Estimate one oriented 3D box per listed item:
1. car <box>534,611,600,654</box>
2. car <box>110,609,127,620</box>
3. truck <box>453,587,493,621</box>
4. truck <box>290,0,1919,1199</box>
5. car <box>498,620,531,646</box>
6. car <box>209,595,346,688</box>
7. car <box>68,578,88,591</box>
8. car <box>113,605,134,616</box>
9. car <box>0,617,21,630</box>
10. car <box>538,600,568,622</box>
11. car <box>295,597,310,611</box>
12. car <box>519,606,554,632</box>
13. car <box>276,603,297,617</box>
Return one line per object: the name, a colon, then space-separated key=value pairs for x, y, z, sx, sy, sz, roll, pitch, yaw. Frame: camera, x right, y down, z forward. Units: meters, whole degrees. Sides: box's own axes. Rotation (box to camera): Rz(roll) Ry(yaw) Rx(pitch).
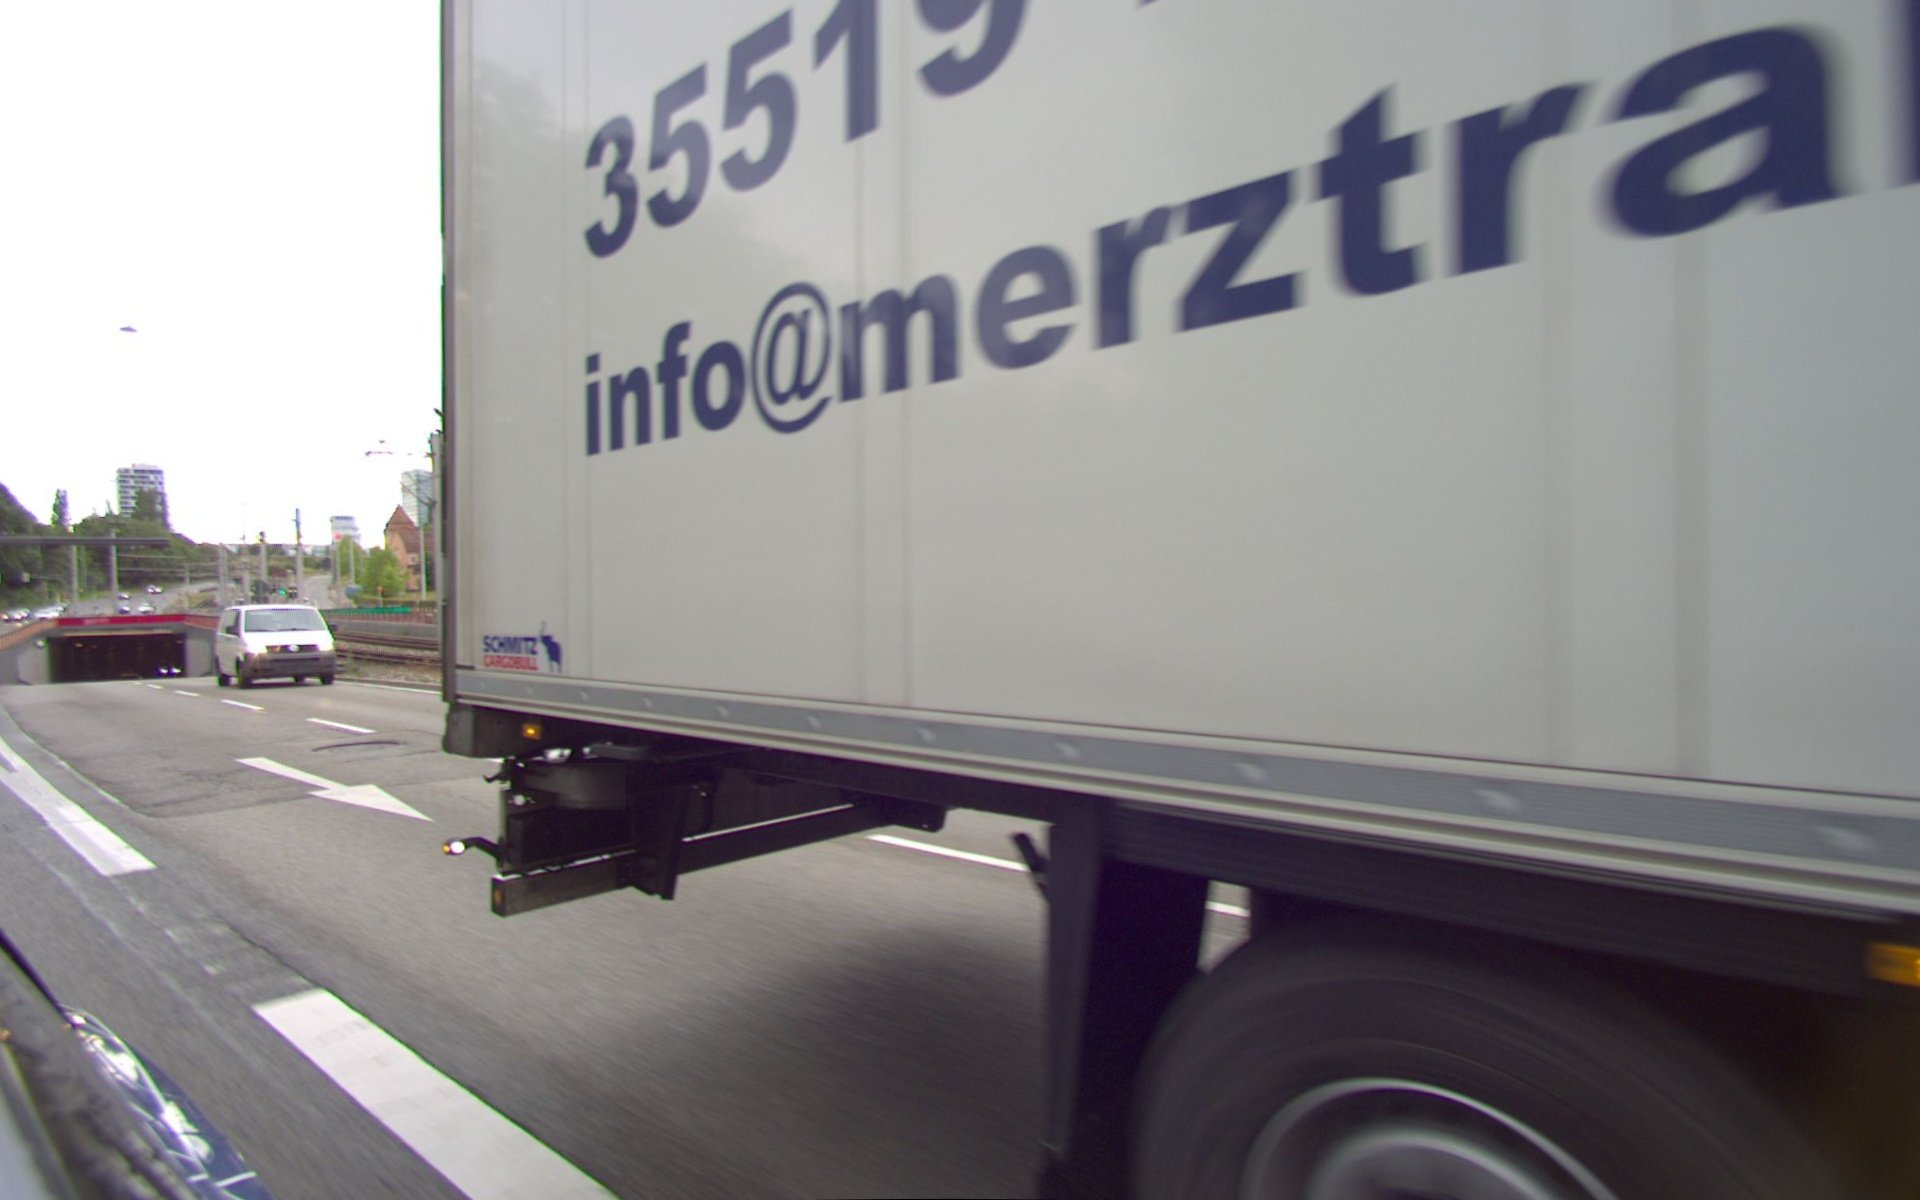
car: x=-21.615 y=1.739 z=55.537 sx=1.968 sy=2.134 sz=5.121 roll=-2 pitch=1 yaw=-37
car: x=-126.711 y=2.196 z=152.402 sx=1.774 sy=1.482 sz=4.008 roll=-1 pitch=1 yaw=-38
truck: x=-49.951 y=0.384 z=103.750 sx=5.288 sy=3.209 sz=1.971 roll=3 pitch=3 yaw=44
truck: x=3.566 y=-0.829 z=0.209 sx=13.022 sy=4.229 sz=2.734 roll=-2 pitch=-2 yaw=41
car: x=-40.188 y=2.956 z=91.238 sx=1.967 sy=2.028 sz=4.215 roll=-1 pitch=3 yaw=-35
car: x=-16.674 y=0.995 z=24.615 sx=1.970 sy=2.042 sz=4.689 roll=0 pitch=-2 yaw=-44
car: x=-109.649 y=-1.928 z=125.860 sx=1.774 sy=1.523 sz=4.007 roll=-1 pitch=-1 yaw=-39
car: x=-125.766 y=1.555 z=152.181 sx=1.710 sy=1.599 sz=4.013 roll=-1 pitch=2 yaw=-30
car: x=-121.219 y=3.024 z=128.958 sx=1.860 sy=1.482 sz=4.017 roll=-1 pitch=-1 yaw=-37
car: x=-41.457 y=1.115 z=103.110 sx=1.967 sy=2.028 sz=4.215 roll=-1 pitch=3 yaw=-35
car: x=-108.814 y=0.611 z=167.582 sx=1.966 sy=2.028 sz=4.012 roll=-1 pitch=3 yaw=-32
car: x=-36.859 y=1.617 z=88.069 sx=1.967 sy=2.028 sz=4.215 roll=-1 pitch=3 yaw=-35
car: x=-102.368 y=1.504 z=153.892 sx=1.965 sy=2.028 sz=4.014 roll=0 pitch=3 yaw=-25
